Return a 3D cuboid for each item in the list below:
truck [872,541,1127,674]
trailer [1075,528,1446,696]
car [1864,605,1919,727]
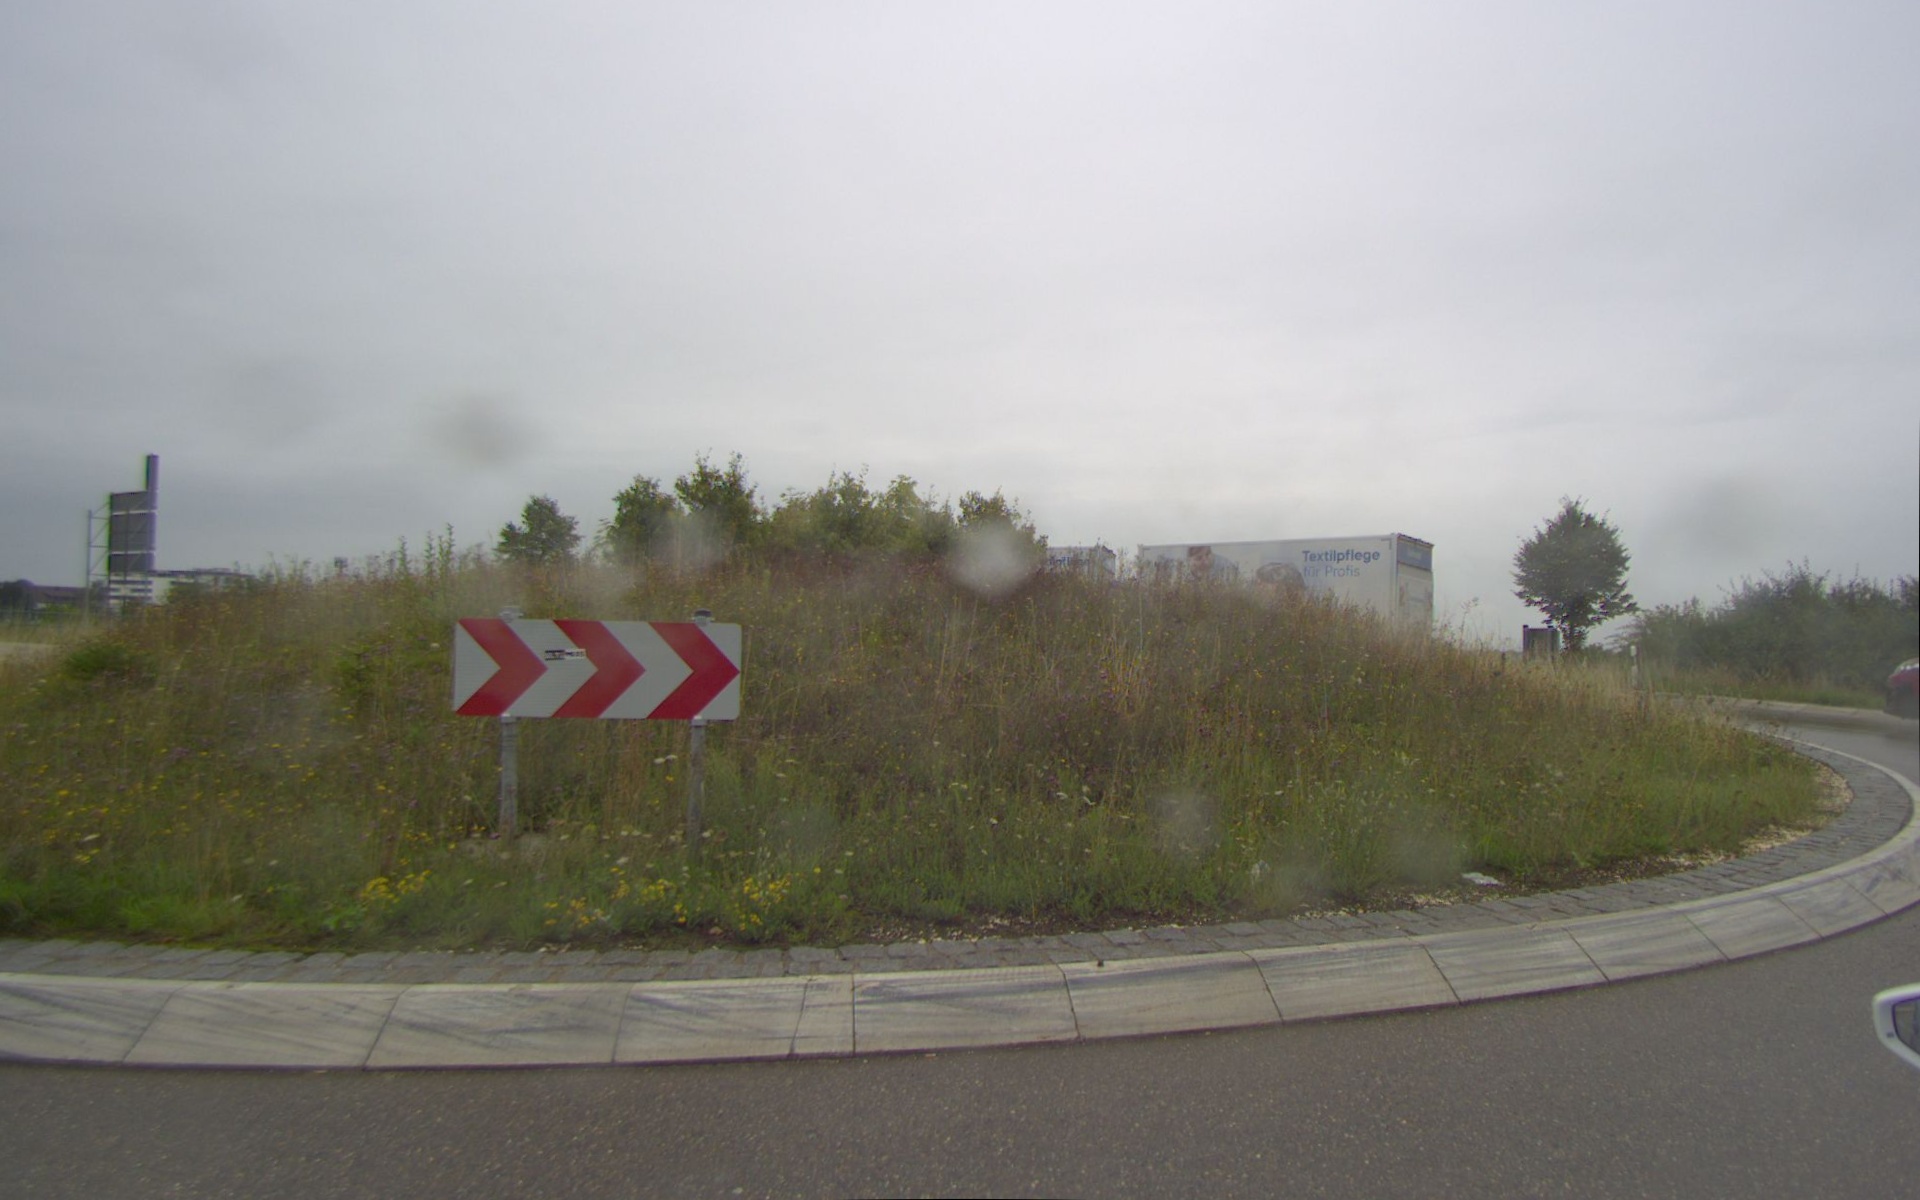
[{"bbox_3d":[1.271,0.200,31.830,7.536,3.869,2.809,1,-1,18],"label":"truck"},{"bbox_3d":[7.814,0.325,27.598,2.823,3.869,9.586,3,-2,-44],"label":"trailer"},{"bbox_3d":[16.794,1.079,14.744,1.981,1.895,4.928,2,-1,-36],"label":"car"}]
